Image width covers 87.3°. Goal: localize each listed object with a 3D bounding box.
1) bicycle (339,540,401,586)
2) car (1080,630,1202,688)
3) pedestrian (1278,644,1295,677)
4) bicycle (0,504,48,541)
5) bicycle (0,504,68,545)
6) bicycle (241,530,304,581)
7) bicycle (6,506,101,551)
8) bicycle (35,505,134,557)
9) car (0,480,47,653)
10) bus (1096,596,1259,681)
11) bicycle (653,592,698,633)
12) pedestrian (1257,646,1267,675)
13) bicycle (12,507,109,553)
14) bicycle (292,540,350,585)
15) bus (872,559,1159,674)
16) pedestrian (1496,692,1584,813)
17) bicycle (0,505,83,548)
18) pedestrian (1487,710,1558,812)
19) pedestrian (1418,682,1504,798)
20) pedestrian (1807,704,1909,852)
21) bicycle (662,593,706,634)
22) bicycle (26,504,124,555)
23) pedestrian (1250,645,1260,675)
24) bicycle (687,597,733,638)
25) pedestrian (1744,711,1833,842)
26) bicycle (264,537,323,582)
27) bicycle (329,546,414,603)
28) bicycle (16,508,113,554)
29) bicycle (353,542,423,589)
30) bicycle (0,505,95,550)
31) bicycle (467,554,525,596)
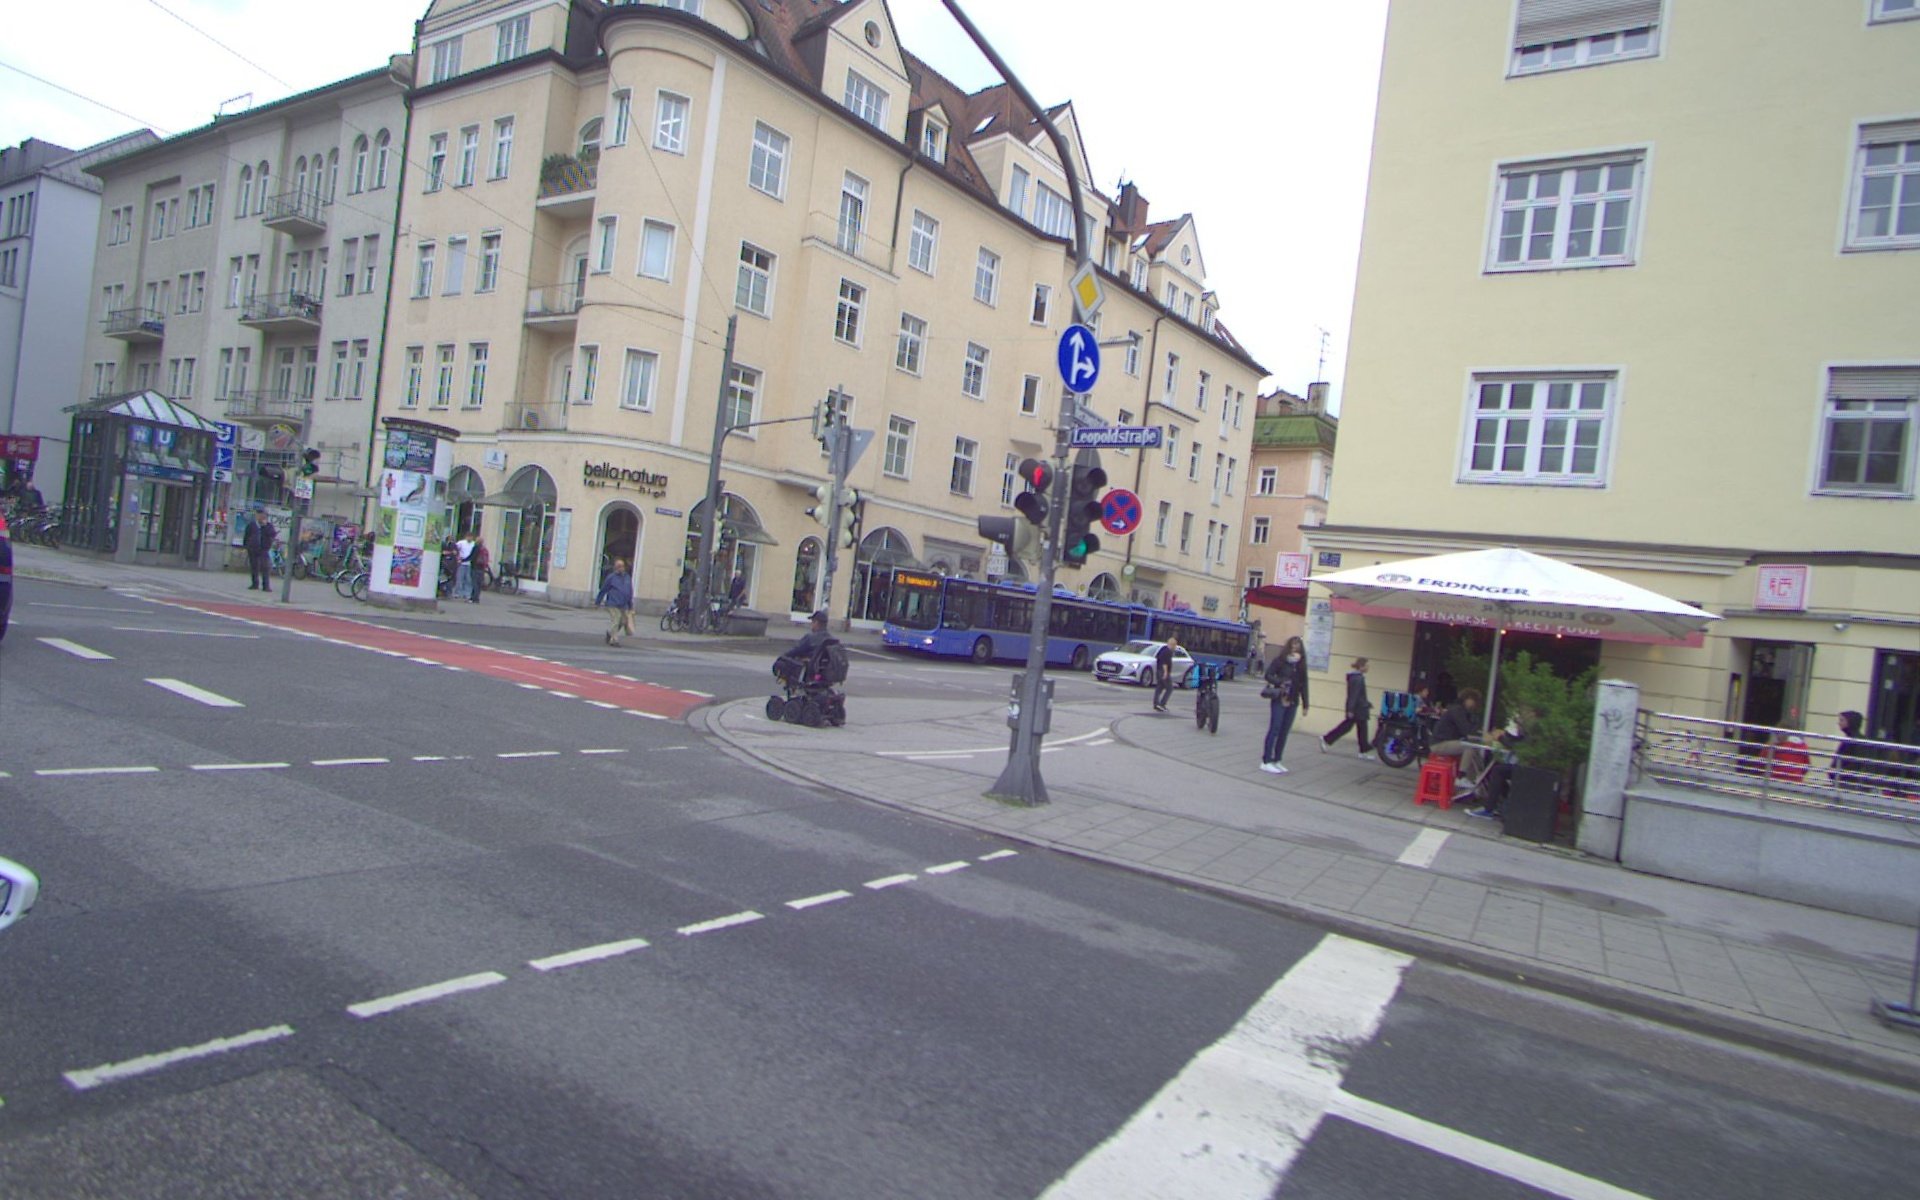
[{"bbox_3d":[-16.338,-1.025,27.858,1.834,1.072,0.495,7,1,27],"label":"bicycle"},{"bbox_3d":[5.879,1.934,32.382,1.869,1.439,3.979,7,-1,43],"label":"car"},{"bbox_3d":[20.861,3.881,64.233,0.607,2.038,0.608,7,1,41],"label":"pedestrian"},{"bbox_3d":[-28.425,-2.354,29.973,0.445,0.976,1.756,7,0,32],"label":"bicycle"},{"bbox_3d":[-27.010,-2.200,29.046,0.445,0.976,1.757,7,0,30],"label":"bicycle"},{"bbox_3d":[-17.633,-1.148,25.780,1.835,1.121,0.567,7,1,32],"label":"bicycle"},{"bbox_3d":[-24.977,-1.951,27.754,0.500,0.976,1.840,7,0,30],"label":"bicycle"},{"bbox_3d":[-23.084,-1.806,26.551,0.500,1.107,1.840,7,0,30],"label":"bicycle"},{"bbox_3d":[-10.782,-0.544,9.871,3.497,1.608,1.705,7,-1,32],"label":"car"},{"bbox_3d":[10.307,1.905,46.770,2.776,3.004,9.538,9,1,42],"label":"bus"},{"bbox_3d":[-7.789,0.354,27.599,0.244,1.046,1.584,7,0,17],"label":"bicycle"},{"bbox_3d":[17.893,3.585,59.615,0.283,1.739,0.305,7,1,36],"label":"pedestrian"},{"bbox_3d":[-24.494,-1.894,27.431,0.500,0.976,1.840,7,0,30],"label":"bicycle"},{"bbox_3d":[-17.015,-1.009,26.781,1.835,0.987,0.495,7,1,32],"label":"bicycle"},{"bbox_3d":[2.683,0.868,38.177,2.776,3.004,13.538,9,1,42],"label":"bus"},{"bbox_3d":[7.131,1.850,12.369,0.783,1.327,0.678,7,0,32],"label":"pedestrian"},{"bbox_3d":[-26.125,-2.089,28.473,0.500,0.976,1.840,7,0,30],"label":"bicycle"},{"bbox_3d":[7.592,2.149,13.573,0.689,1.218,0.626,7,0,32],"label":"pedestrian"},{"bbox_3d":[6.397,1.762,12.837,0.783,1.327,0.678,7,0,32],"label":"pedestrian"},{"bbox_3d":[10.964,2.149,12.307,0.666,1.653,0.615,7,1,32],"label":"pedestrian"},{"bbox_3d":[-7.536,0.389,27.537,0.244,1.046,1.584,7,0,17],"label":"bicycle"},{"bbox_3d":[-23.565,-1.865,26.827,0.500,1.107,1.840,7,0,30],"label":"bicycle"},{"bbox_3d":[17.688,3.584,60.269,0.283,1.739,0.305,7,1,36],"label":"pedestrian"},{"bbox_3d":[-6.830,0.494,27.569,0.350,1.046,1.584,7,0,17],"label":"bicycle"},{"bbox_3d":[10.079,2.123,12.258,0.606,1.440,0.676,7,1,32],"label":"pedestrian"},{"bbox_3d":[-17.364,-1.056,26.199,1.835,0.987,0.495,7,1,32],"label":"bicycle"},{"bbox_3d":[-13.808,-0.585,23.646,0.516,1.175,1.568,9,2,34],"label":"bicycle"},{"bbox_3d":[-24.088,-1.849,27.096,0.500,0.976,1.840,7,0,30],"label":"bicycle"},{"bbox_3d":[-16.209,-0.978,28.498,1.831,1.072,0.496,7,1,17],"label":"bicycle"},{"bbox_3d":[-25.426,-2.004,28.068,0.500,0.976,1.840,7,0,30],"label":"bicycle"},{"bbox_3d":[-14.515,-0.776,31.459,1.833,1.103,0.495,7,1,26],"label":"bicycle"}]
